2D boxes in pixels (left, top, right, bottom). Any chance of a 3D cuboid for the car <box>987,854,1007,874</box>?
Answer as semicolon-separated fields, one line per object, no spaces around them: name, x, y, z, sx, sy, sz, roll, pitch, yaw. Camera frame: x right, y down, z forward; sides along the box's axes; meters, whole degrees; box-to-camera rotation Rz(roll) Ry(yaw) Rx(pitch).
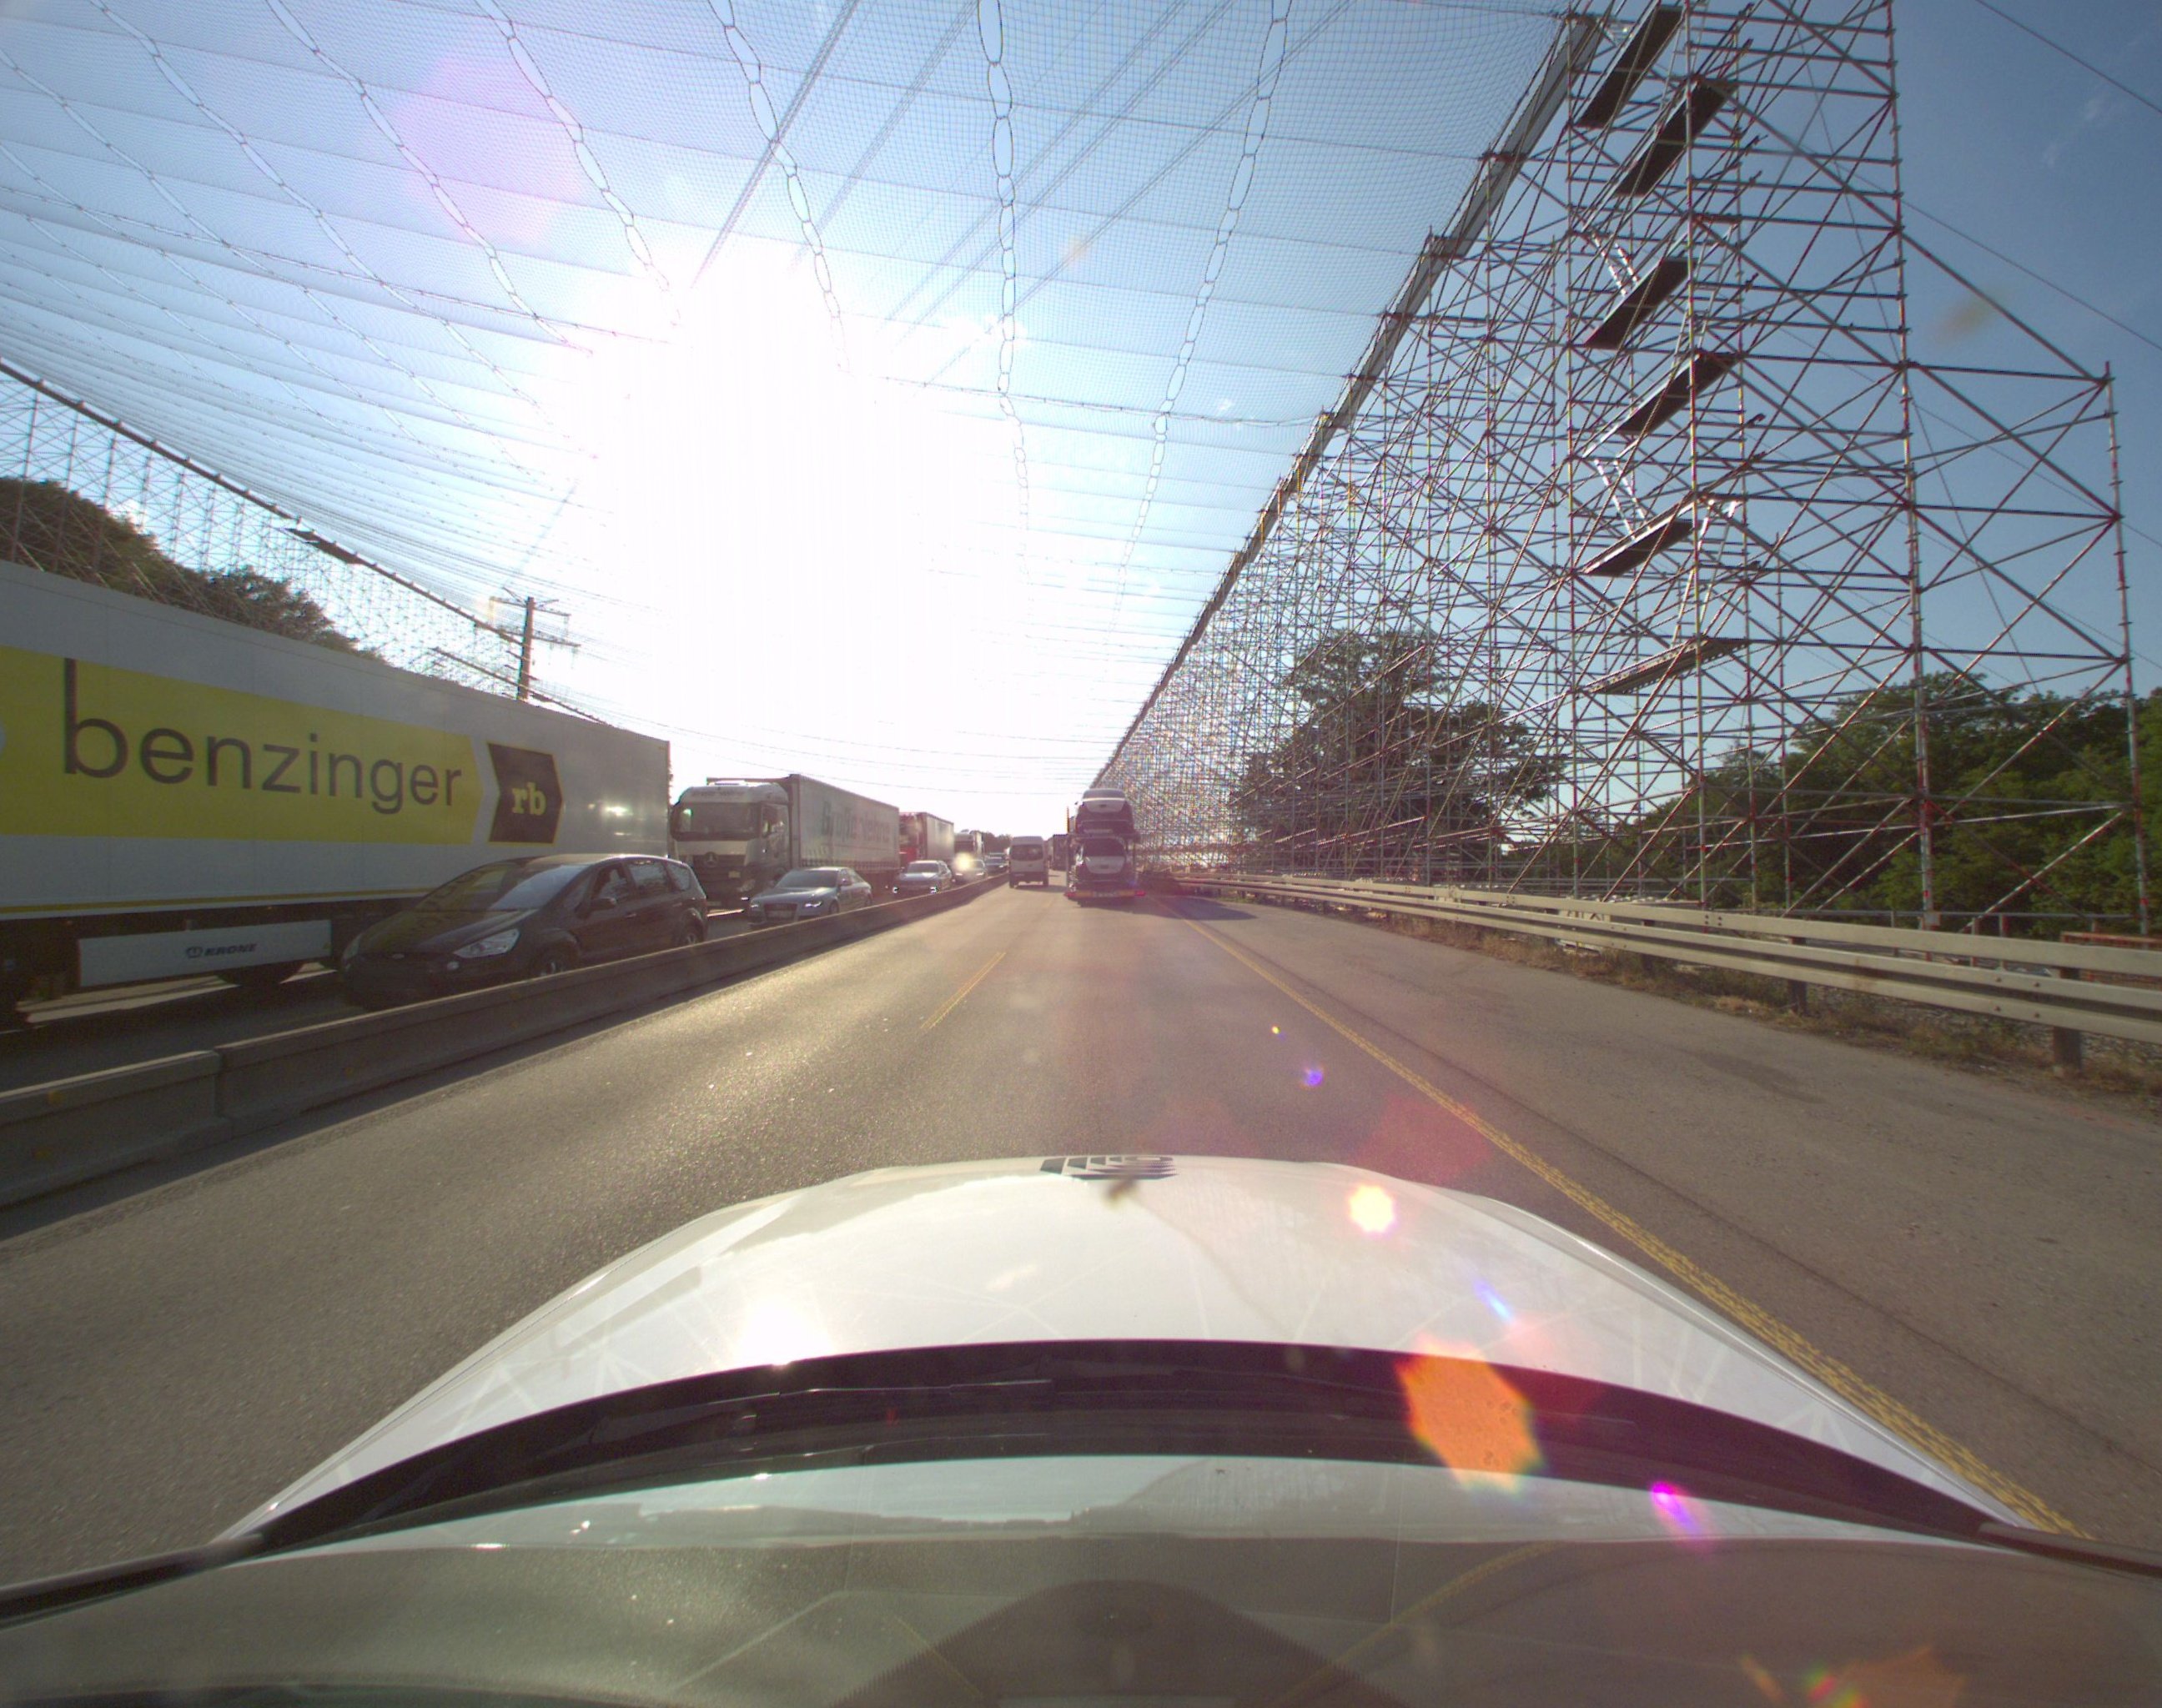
car;-8.522;0.987;83.043;1.870;1.935;4.855;0;0;-3

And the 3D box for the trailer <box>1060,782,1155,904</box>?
trailer;0.685;-0.271;32.608;2.861;3.725;14.938;-1;-1;-1

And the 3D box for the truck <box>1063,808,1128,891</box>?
truck;0.607;-0.170;40.440;2.873;3.702;7.321;-1;-1;-1

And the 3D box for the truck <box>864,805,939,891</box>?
truck;-9.368;-0.260;43.256;2.781;4.141;6.670;-1;-1;-3

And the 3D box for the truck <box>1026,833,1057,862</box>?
truck;-6.603;-0.899;132.344;3.684;4.220;13.632;-4;0;-7

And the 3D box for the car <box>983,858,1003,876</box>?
car;-7.821;1.136;72.396;1.740;1.535;4.258;0;0;-6

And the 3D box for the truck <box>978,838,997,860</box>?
truck;-15.572;-0.727;135.594;2.594;3.473;12.352;0;0;-9

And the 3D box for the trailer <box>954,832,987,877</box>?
trailer;-11.184;0.111;83.516;2.649;4.233;13.895;0;0;-5

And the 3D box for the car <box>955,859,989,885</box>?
car;-6.490;1.055;48.880;1.647;1.464;4.395;0;0;-3

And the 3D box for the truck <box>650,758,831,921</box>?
truck;-9.648;-0.335;23.878;2.779;4.141;5.932;-1;-1;0

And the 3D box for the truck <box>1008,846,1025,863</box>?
truck;-14.540;0.210;183.359;2.617;3.723;9.622;0;0;-11

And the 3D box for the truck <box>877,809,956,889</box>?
truck;-9.736;-0.189;49.873;2.781;4.141;13.790;-1;-1;-3

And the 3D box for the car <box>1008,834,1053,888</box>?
car;-2.578;0.383;42.613;1.950;2.621;4.000;-2;-1;1

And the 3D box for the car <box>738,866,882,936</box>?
car;-6.217;1.017;19.363;1.725;1.377;4.891;1;0;0

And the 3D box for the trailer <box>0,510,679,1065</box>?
trailer;-9.754;-0.468;9.777;2.756;4.334;13.881;-1;-1;1

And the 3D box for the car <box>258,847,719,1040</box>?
car;-6.286;0.793;9.579;1.746;1.657;4.864;-1;0;1

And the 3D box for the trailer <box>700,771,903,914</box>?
trailer;-9.663;-0.260;30.688;2.790;4.141;13.962;-1;-1;0

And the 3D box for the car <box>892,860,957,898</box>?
car;-6.399;0.982;33.823;1.726;1.439;4.837;1;0;0

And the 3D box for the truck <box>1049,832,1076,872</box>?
truck;-2.253;-0.182;94.633;2.726;4.385;11.505;0;0;-4

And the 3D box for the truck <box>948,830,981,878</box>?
truck;-10.844;0.033;76.341;2.659;4.230;6.092;-1;0;-6
